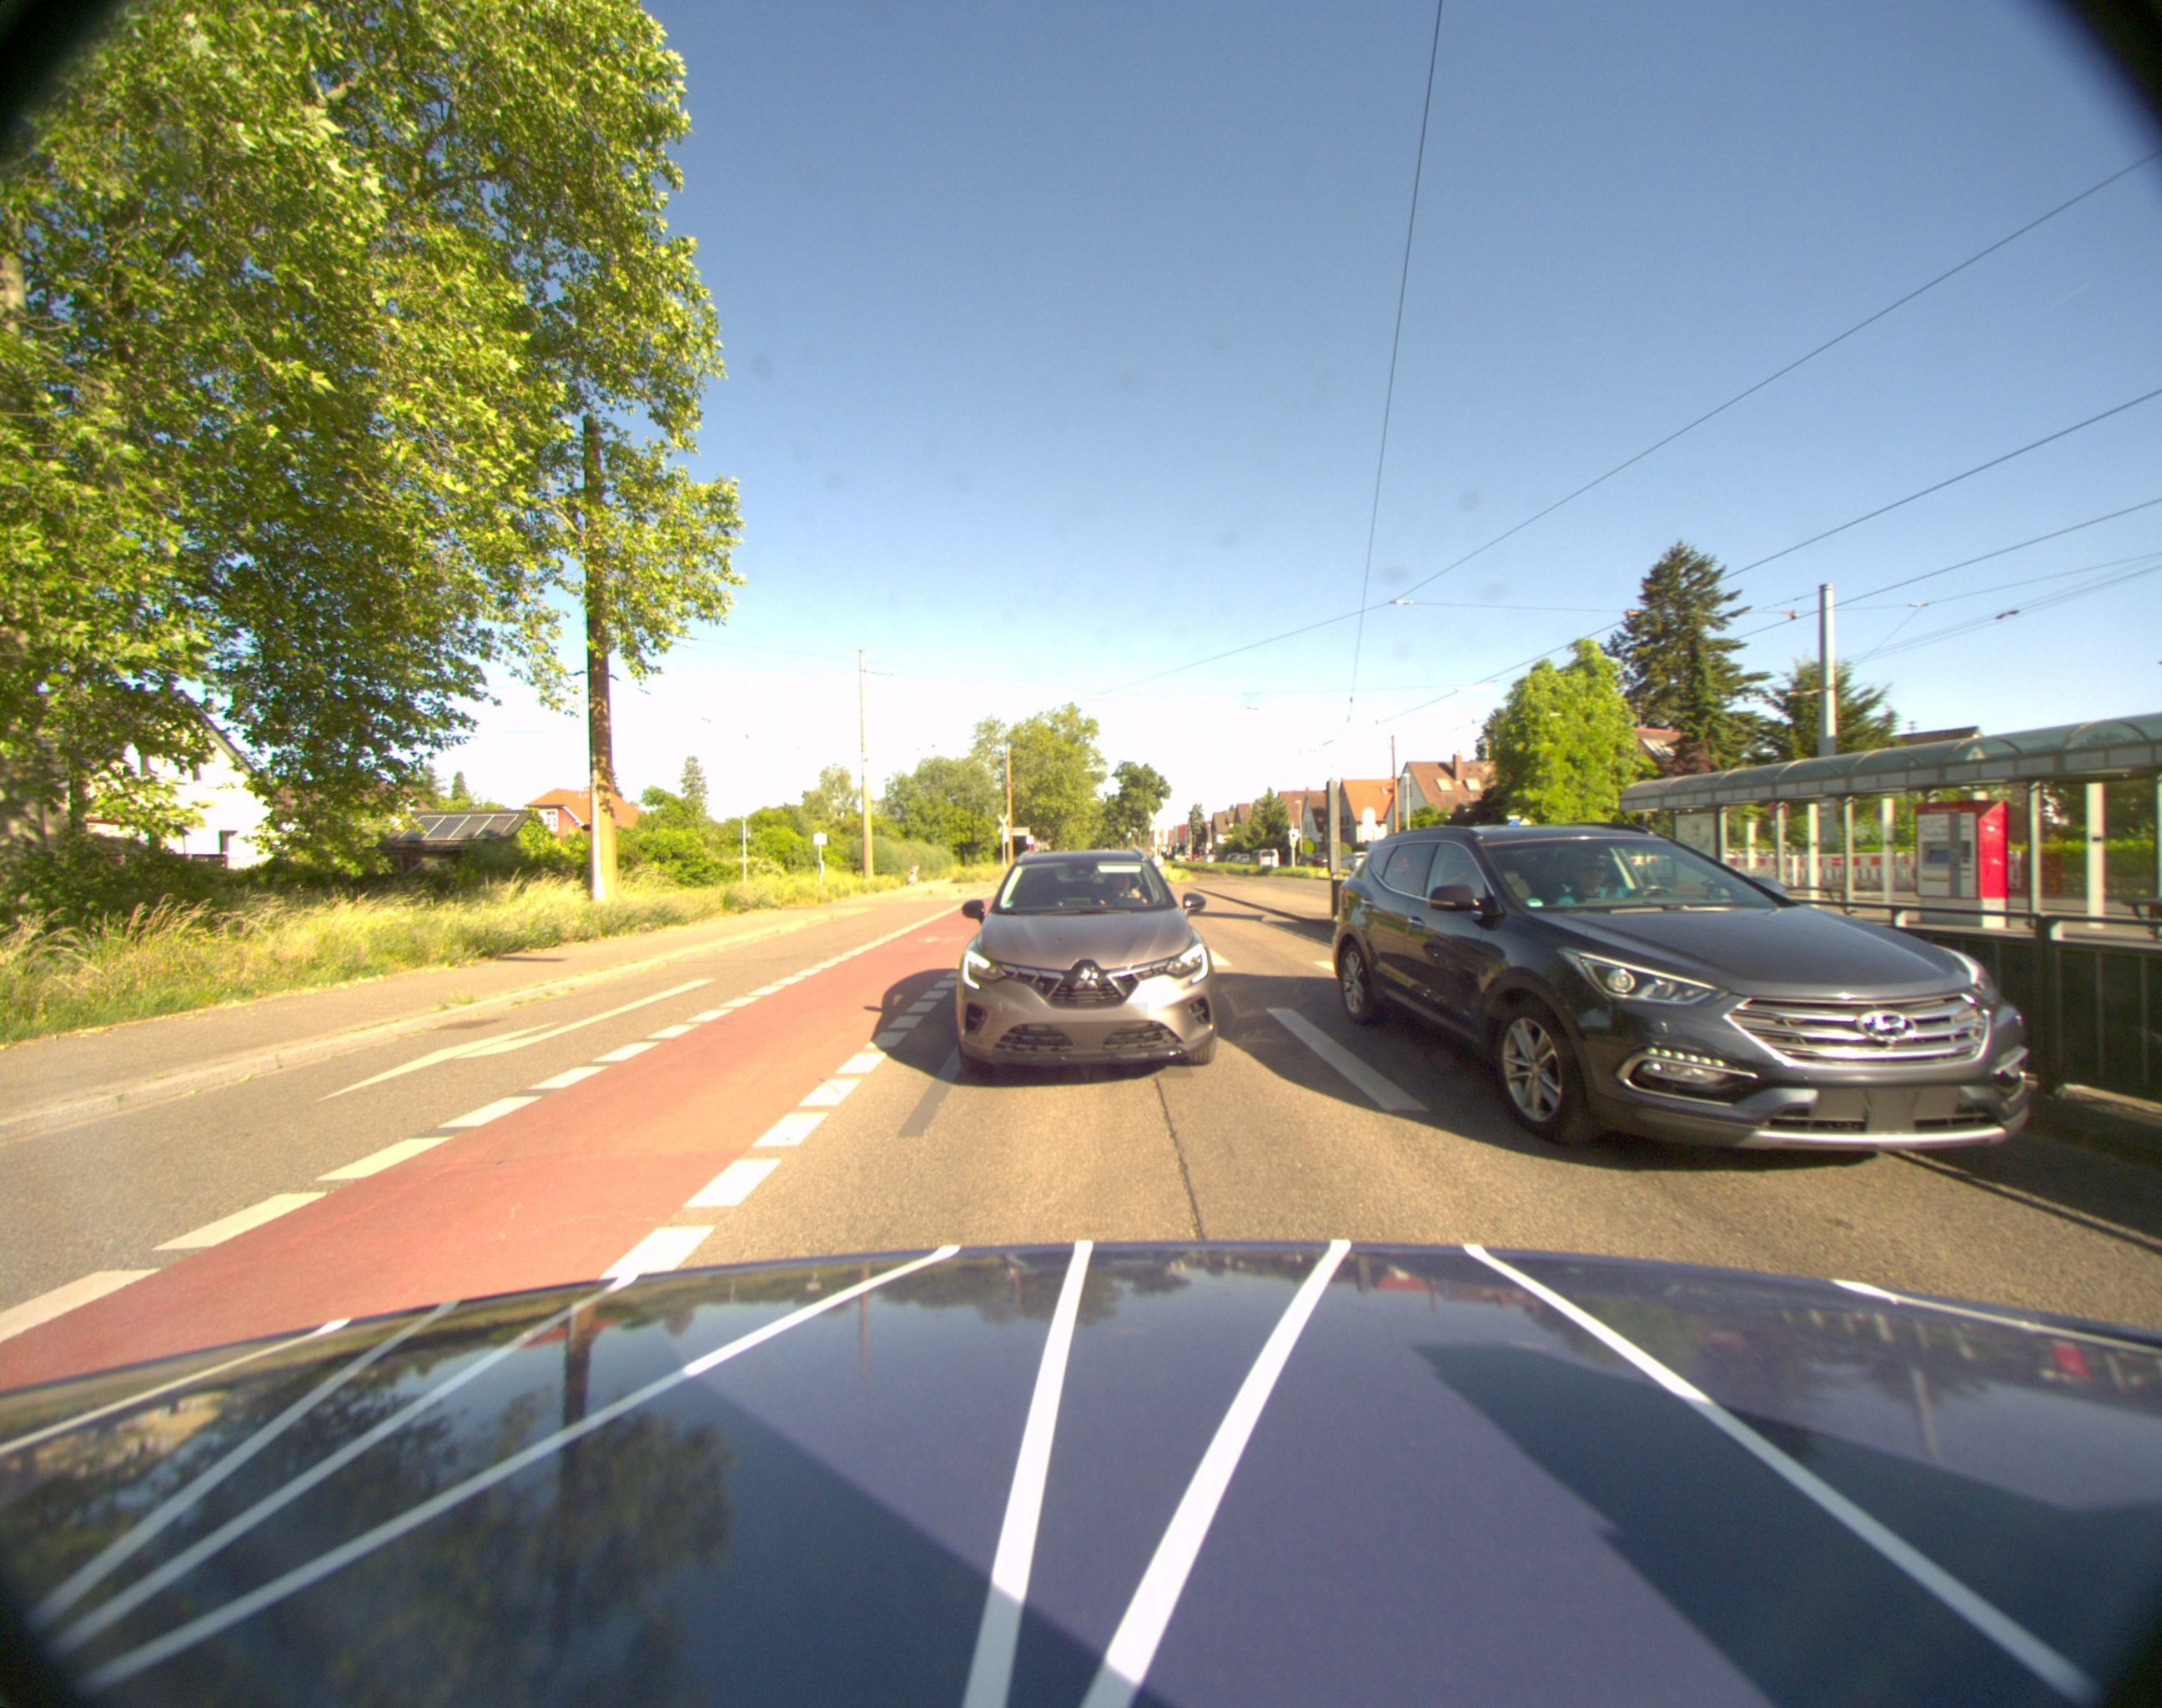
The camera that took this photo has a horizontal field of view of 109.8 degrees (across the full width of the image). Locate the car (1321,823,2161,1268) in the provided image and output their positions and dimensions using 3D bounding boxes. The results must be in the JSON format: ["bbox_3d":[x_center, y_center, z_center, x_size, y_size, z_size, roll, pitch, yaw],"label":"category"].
[{"bbox_3d":[3.131,0.712,4.954,1.780,1.620,4.288,-1,0,0],"label":"car"}]

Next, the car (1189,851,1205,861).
[{"bbox_3d":[17.325,0.311,114.064,1.740,1.511,4.344,-1,0,0],"label":"car"}]

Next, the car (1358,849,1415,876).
[{"bbox_3d":[17.096,0.437,42.673,1.608,1.394,4.016,0,0,0],"label":"car"}]

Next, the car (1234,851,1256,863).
[{"bbox_3d":[22.063,0.336,102.348,1.888,1.464,4.838,-3,0,1],"label":"car"}]

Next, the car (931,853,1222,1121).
[{"bbox_3d":[-0.042,0.783,6.268,1.673,1.529,3.586,-2,0,-1],"label":"car"}]

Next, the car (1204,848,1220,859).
[{"bbox_3d":[22.074,-0.100,127.950,1.998,1.852,4.584,-2,0,1],"label":"car"}]

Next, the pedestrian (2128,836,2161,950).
[{"bbox_3d":[14.228,0.499,9.416,1.063,1.444,1.007,1,1,0],"label":"pedestrian"}]

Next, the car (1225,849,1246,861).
[{"bbox_3d":[21.799,0.173,107.401,1.888,1.552,4.536,-3,0,0],"label":"car"}]

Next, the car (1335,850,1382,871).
[{"bbox_3d":[21.725,0.453,59.582,1.888,1.464,4.613,-3,1,-1],"label":"car"}]

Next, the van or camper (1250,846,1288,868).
[{"bbox_3d":[17.130,0.271,69.634,1.998,1.817,5.987,-1,0,0],"label":"van or camper"}]

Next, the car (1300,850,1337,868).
[{"bbox_3d":[21.621,0.405,69.372,1.912,1.457,4.440,-3,1,0],"label":"car"}]
